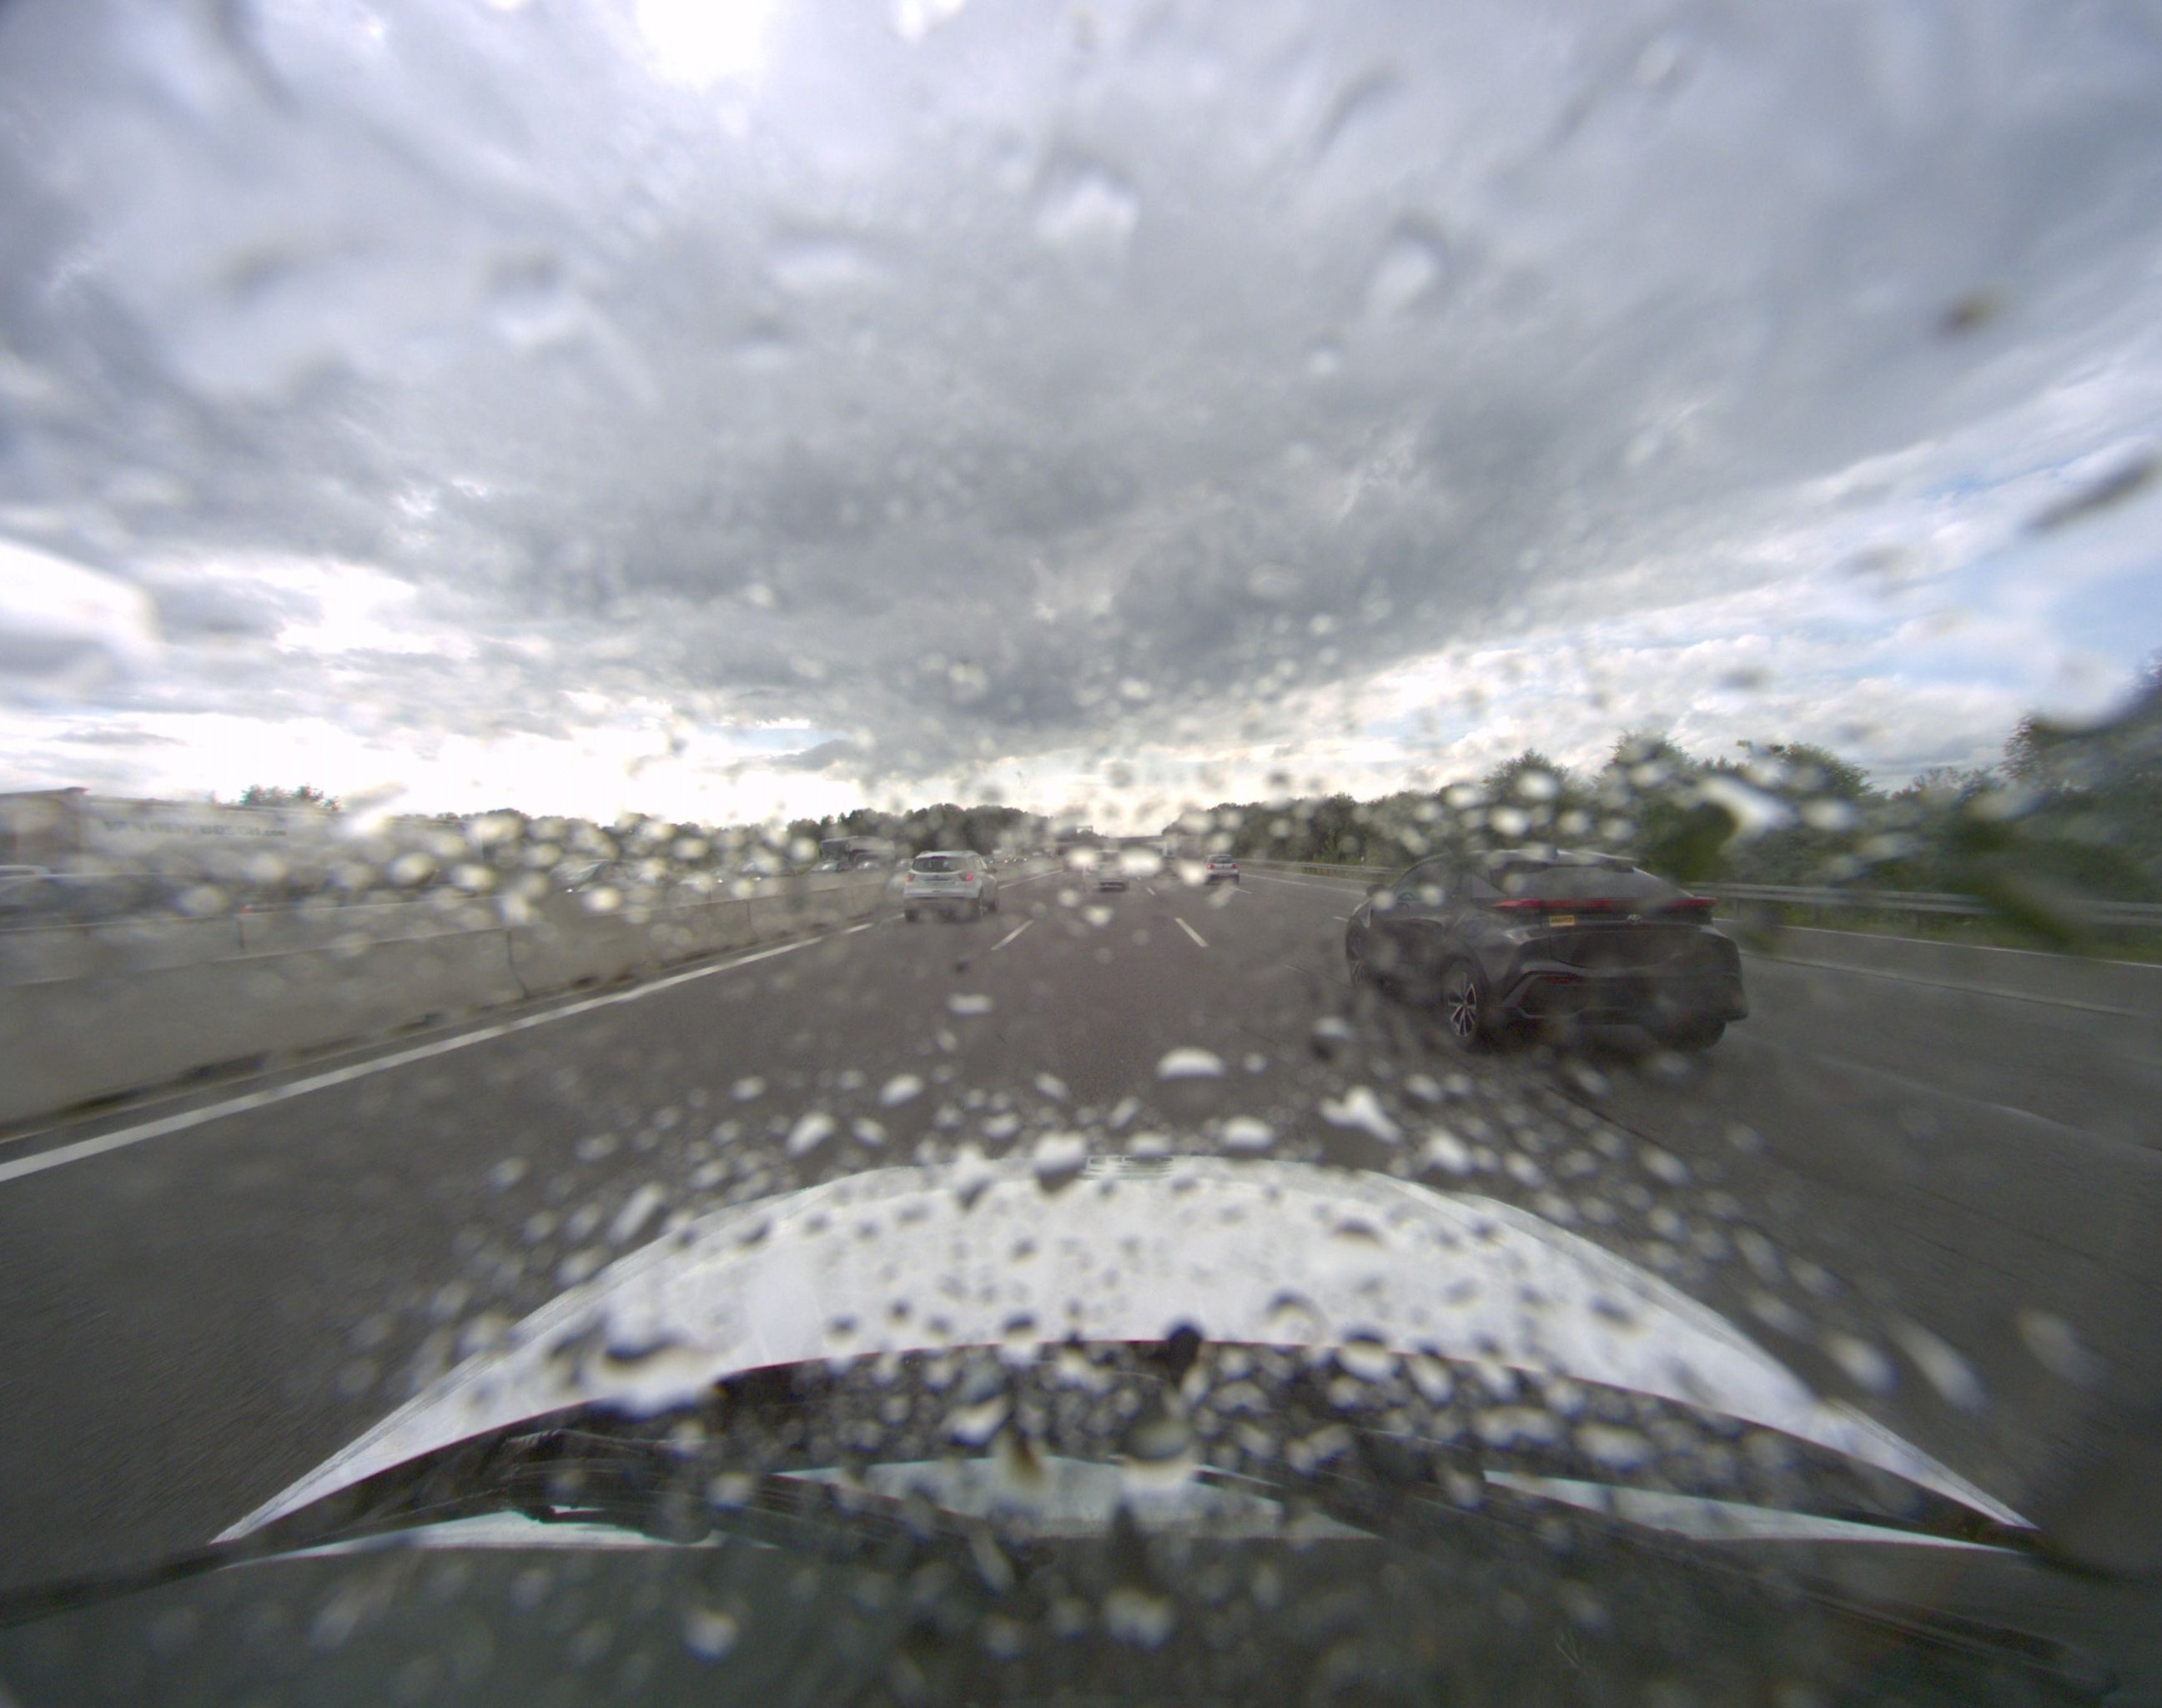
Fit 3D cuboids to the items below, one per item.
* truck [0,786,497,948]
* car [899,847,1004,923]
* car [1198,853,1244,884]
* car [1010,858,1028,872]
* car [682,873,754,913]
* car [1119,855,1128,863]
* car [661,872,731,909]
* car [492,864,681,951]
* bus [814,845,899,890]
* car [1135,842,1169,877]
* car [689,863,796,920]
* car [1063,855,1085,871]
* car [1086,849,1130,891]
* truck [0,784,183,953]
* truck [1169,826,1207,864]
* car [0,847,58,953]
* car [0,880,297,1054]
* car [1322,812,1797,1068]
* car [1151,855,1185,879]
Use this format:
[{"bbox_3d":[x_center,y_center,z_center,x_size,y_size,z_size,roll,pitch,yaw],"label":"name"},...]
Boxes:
[{"bbox_3d":[-25.039,0.323,25.697,3.136,3.745,13.306,-1,0,2],"label":"truck"},{"bbox_3d":[-3.190,0.695,21.067,1.809,1.689,4.853,-1,0,1],"label":"car"},{"bbox_3d":[7.074,0.685,41.448,1.788,1.477,4.040,-1,0,3],"label":"car"},{"bbox_3d":[-8.683,1.564,114.821,1.985,1.904,4.507,-1,0,3],"label":"car"},{"bbox_3d":[-20.139,2.100,45.380,1.986,2.013,4.229,-1,0,2],"label":"car"},{"bbox_3d":[10.341,1.208,197.936,1.875,1.686,4.000,-1,0,1],"label":"car"},{"bbox_3d":[-23.497,2.178,49.897,1.985,2.013,4.428,-1,0,3],"label":"car"},{"bbox_3d":[-12.907,1.306,21.689,1.985,1.967,4.699,-1,0,3],"label":"car"},{"bbox_3d":[-18.659,1.031,68.984,2.676,3.385,14.007,-1,0,3],"label":"bus"},{"bbox_3d":[6.110,0.460,71.131,2.557,2.895,7.538,-1,0,2],"label":"car"},{"bbox_3d":[-13.014,1.381,31.676,1.985,1.967,4.699,-1,0,3],"label":"car"},{"bbox_3d":[-0.629,0.848,76.772,1.773,1.481,4.357,-1,0,4],"label":"car"},{"bbox_3d":[1.156,0.663,35.762,1.774,1.716,4.354,-1,0,1],"label":"car"},{"bbox_3d":[-25.334,0.344,18.284,3.137,3.712,6.323,-1,0,3],"label":"truck"},{"bbox_3d":[11.233,-0.895,86.617,3.121,3.709,9.853,-1,0,2],"label":"truck"},{"bbox_3d":[-20.913,0.853,13.701,1.985,1.948,4.215,-1,0,3],"label":"car"},{"bbox_3d":[-13.896,1.429,10.960,1.985,1.967,4.699,-1,0,3],"label":"car"},{"bbox_3d":[3.733,0.552,7.507,1.774,1.613,4.599,-1,0,2],"label":"car"},{"bbox_3d":[5.395,0.770,50.913,1.877,1.407,4.285,-1,0,2],"label":"car"}]
